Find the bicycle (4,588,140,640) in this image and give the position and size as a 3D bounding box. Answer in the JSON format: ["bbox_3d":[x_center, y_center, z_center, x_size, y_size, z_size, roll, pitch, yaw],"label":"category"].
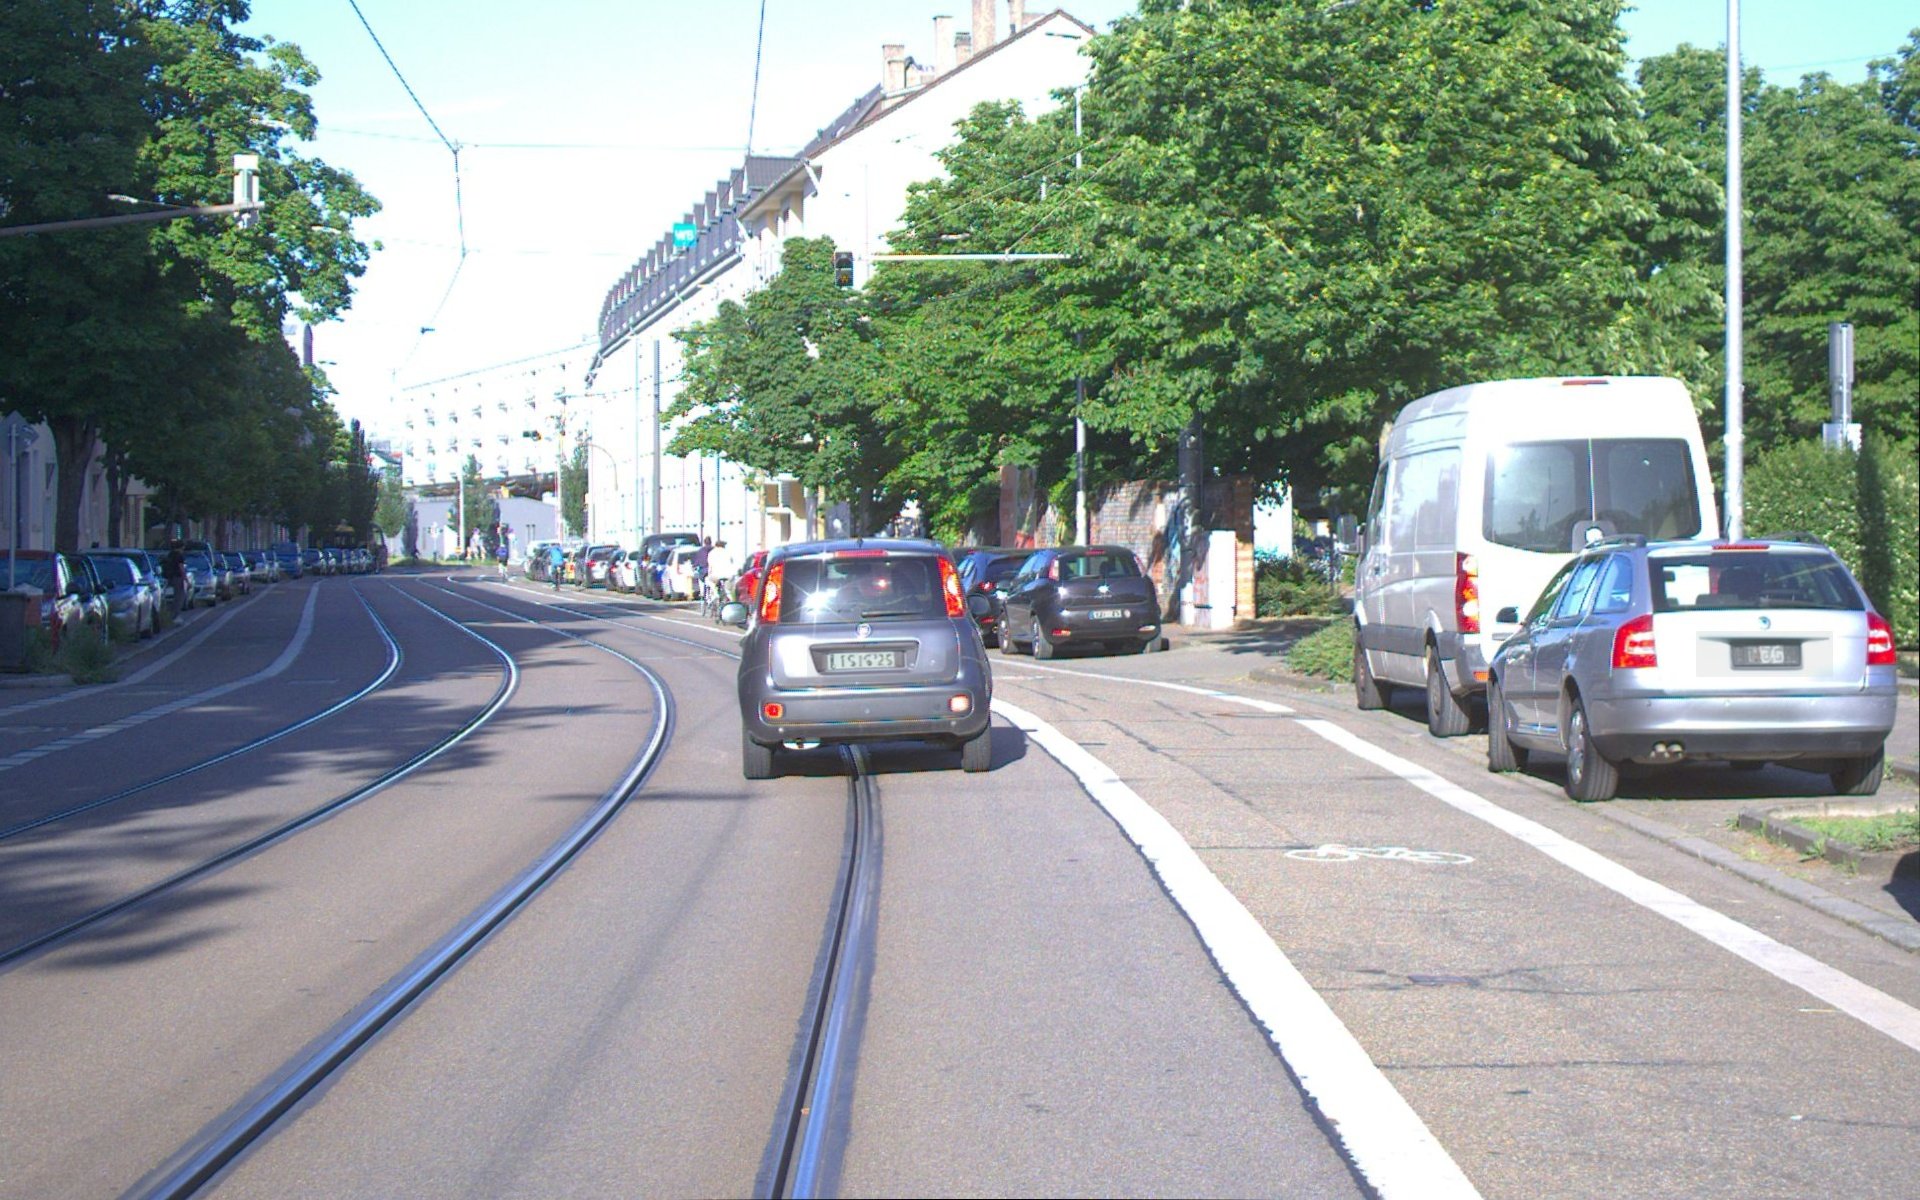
[{"bbox_3d":[-14.519,0.225,56.236,2.127,0.822,0.477,0,1,-11],"label":"bicycle"}]

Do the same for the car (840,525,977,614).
[{"bbox_3d":[-0.977,-0.576,63.356,1.688,1.525,4.001,-2,1,-13],"label":"car"}]

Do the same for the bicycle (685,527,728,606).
[{"bbox_3d":[-5.676,-0.751,76.931,0.675,1.741,2.158,0,1,-11],"label":"bicycle"}]

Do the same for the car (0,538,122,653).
[{"bbox_3d":[-12.610,-0.095,47.834,1.786,1.525,3.859,0,1,-13],"label":"car"}]

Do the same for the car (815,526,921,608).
[{"bbox_3d":[-1.876,-0.671,68.716,1.688,1.525,4.001,-2,1,-7],"label":"car"}]

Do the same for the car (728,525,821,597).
[{"bbox_3d":[-4.239,-0.895,77.995,1.635,1.503,3.398,-3,2,-10],"label":"car"}]

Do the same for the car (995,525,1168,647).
[{"bbox_3d":[1.604,-0.215,46.714,1.688,1.525,4.001,-2,1,-7],"label":"car"}]

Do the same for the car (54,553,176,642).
[{"bbox_3d":[-14.725,-0.075,60.087,1.688,1.470,4.661,0,1,-9],"label":"car"}]

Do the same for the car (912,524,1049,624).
[{"bbox_3d":[0.301,-0.446,56.427,1.688,1.525,4.001,-2,1,-7],"label":"car"}]

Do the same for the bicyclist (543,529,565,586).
[{"bbox_3d":[-14.369,-1.499,121.657,0.715,2.007,0.832,0,1,-11],"label":"bicyclist"}]

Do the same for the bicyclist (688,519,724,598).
[{"bbox_3d":[-5.680,-0.934,76.950,0.699,1.753,0.758,0,1,-11],"label":"bicyclist"}]

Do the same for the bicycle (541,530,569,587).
[{"bbox_3d":[-14.348,-1.480,121.649,0.741,2.007,2.813,0,1,-11],"label":"bicycle"}]

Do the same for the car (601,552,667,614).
[{"bbox_3d":[-10.586,-0.567,111.394,1.655,1.937,4.666,0,1,-11],"label":"car"}]

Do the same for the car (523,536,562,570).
[{"bbox_3d":[-19.713,-2.219,162.375,1.582,1.593,3.377,0,1,-11],"label":"car"}]

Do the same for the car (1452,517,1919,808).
[{"bbox_3d":[4.306,0.292,20.676,1.910,1.524,4.601,-1,1,-1],"label":"car"}]

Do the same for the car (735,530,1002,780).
[{"bbox_3d":[-0.587,0.300,23.458,1.650,1.536,4.235,0,1,-1],"label":"car"}]

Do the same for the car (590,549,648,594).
[{"bbox_3d":[-11.644,-0.968,117.261,1.655,1.495,3.131,0,1,-11],"label":"car"}]

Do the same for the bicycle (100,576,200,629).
[{"bbox_3d":[-16.296,0.053,69.179,1.924,1.042,0.476,0,1,-9],"label":"bicycle"}]

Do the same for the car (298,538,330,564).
[{"bbox_3d":[-37.342,-2.820,198.737,1.706,1.491,3.723,0,1,-9],"label":"car"}]

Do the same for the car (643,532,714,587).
[{"bbox_3d":[-8.240,-1.206,100.445,1.655,1.566,3.877,0,1,-11],"label":"car"}]

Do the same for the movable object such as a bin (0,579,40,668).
[{"bbox_3d":[-10.663,0.260,38.727,0.484,0.984,0.660,0,1,-8],"label":"movable object such as a bin"}]

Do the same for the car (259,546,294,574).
[{"bbox_3d":[-36.332,-2.137,182.874,1.706,1.491,3.723,0,1,-9],"label":"car"}]

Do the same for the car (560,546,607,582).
[{"bbox_3d":[-15.094,-1.461,137.804,1.582,1.400,3.377,0,1,-11],"label":"car"}]

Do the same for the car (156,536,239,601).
[{"bbox_3d":[-18.403,-0.777,83.094,1.808,1.503,4.192,0,1,-10],"label":"car"}]

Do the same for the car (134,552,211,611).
[{"bbox_3d":[-21.187,-0.520,92.606,1.808,1.503,4.682,0,1,-10],"label":"car"}]

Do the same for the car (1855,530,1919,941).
[{"bbox_3d":[4.464,0.526,11.288,1.727,1.507,4.252,0,1,-3],"label":"car"}]

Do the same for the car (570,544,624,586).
[{"bbox_3d":[-13.305,-1.290,125.794,1.582,1.400,3.377,-4,2,-11],"label":"car"}]

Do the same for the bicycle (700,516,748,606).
[{"bbox_3d":[-4.652,-0.772,67.696,0.675,1.741,2.158,0,1,-11],"label":"bicycle"}]

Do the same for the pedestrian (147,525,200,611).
[{"bbox_3d":[-16.533,-0.669,72.235,0.849,1.770,0.735,-3,2,-30],"label":"pedestrian"}]

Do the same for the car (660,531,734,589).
[{"bbox_3d":[-7.361,-1.128,96.071,1.655,1.566,3.500,0,1,-11],"label":"car"}]

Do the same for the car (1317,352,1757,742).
[{"bbox_3d":[4.390,-0.425,27.310,2.180,2.656,6.092,-3,1,-2],"label":"car"}]

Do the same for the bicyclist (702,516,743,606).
[{"bbox_3d":[-4.683,-0.776,67.794,0.699,1.753,0.758,0,1,-11],"label":"bicyclist"}]

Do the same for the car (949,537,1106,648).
[{"bbox_3d":[0.965,-0.151,51.345,1.688,1.525,4.356,-2,1,-7],"label":"car"}]

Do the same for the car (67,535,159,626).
[{"bbox_3d":[-16.169,-0.399,65.542,1.651,1.662,4.298,0,1,-14],"label":"car"}]

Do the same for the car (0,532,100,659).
[{"bbox_3d":[-12.002,-0.094,43.486,1.688,1.525,4.001,0,1,-7],"label":"car"}]
